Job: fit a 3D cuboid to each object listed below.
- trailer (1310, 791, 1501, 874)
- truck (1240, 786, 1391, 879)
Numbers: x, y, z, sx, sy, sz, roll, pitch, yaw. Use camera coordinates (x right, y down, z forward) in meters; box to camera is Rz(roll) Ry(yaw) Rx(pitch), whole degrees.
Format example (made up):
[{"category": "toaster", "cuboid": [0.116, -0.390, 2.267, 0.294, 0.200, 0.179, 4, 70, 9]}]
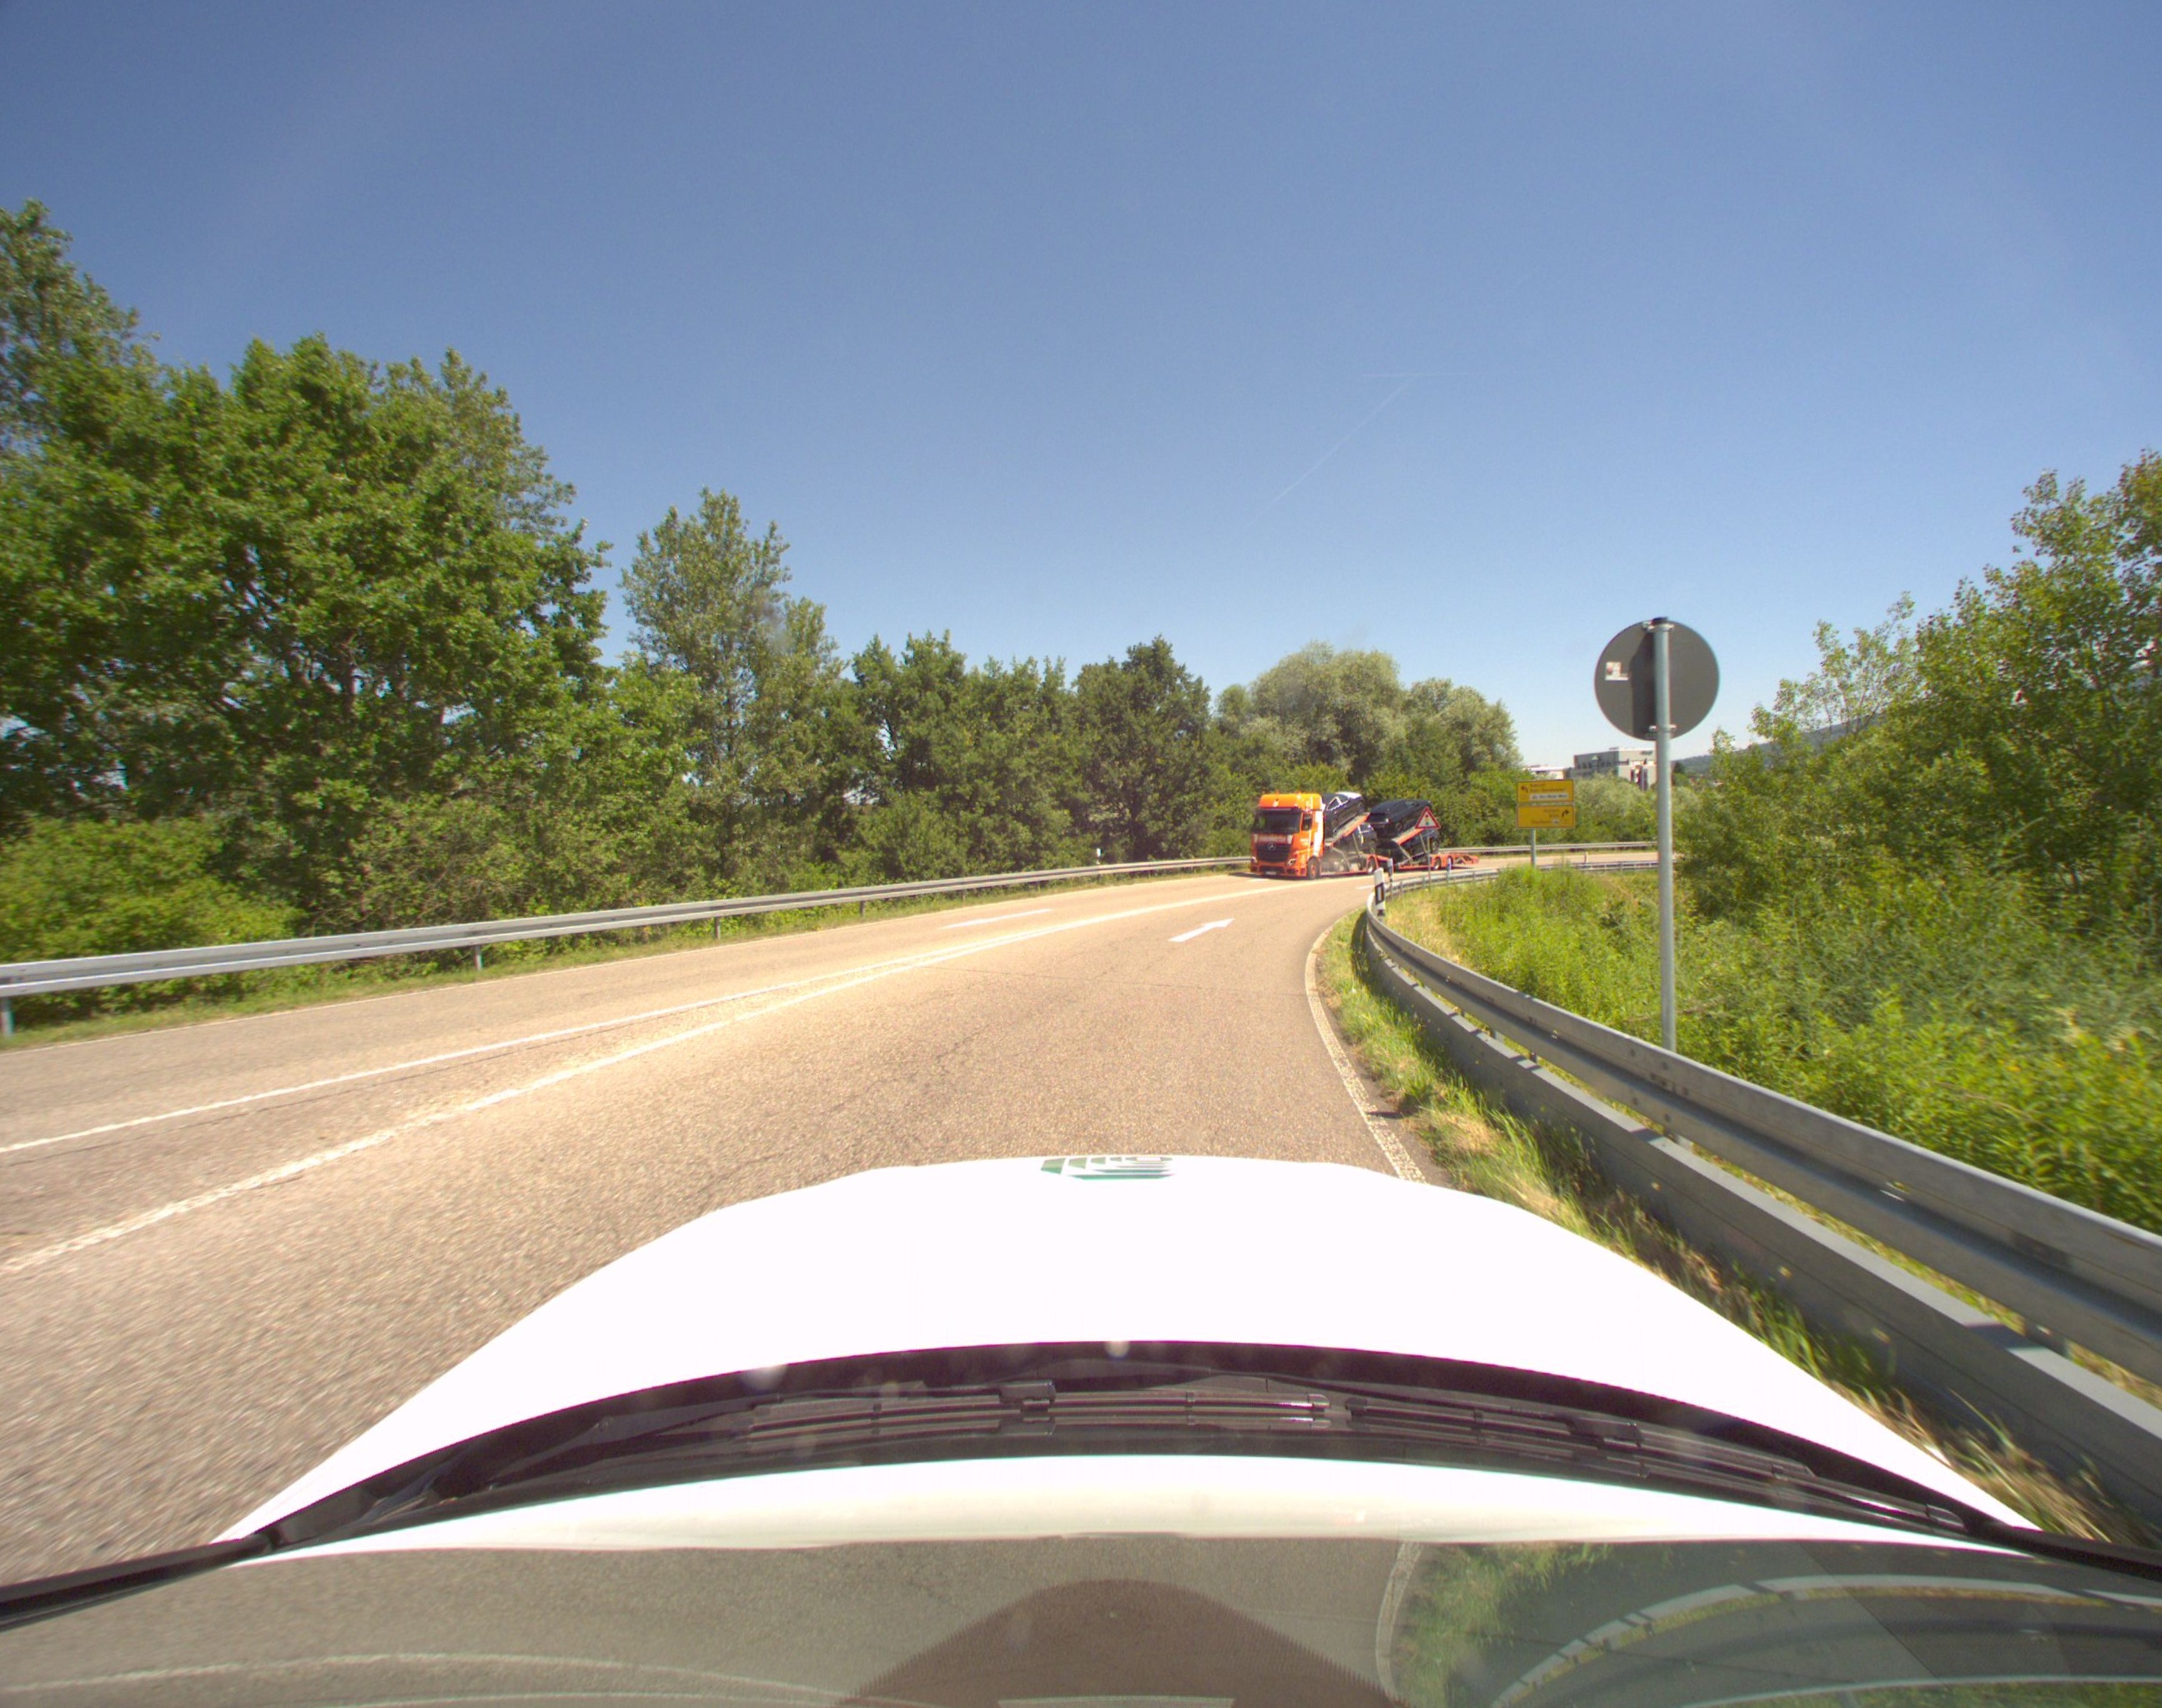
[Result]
[{"category": "trailer", "cuboid": [17.882, -1.081, 43.895, 14.052, 3.897, 2.771, 0, 2, -38]}, {"category": "truck", "cuboid": [11.176, -0.966, 38.089, 8.830, 3.897, 2.765, 0, 2, -45]}]
